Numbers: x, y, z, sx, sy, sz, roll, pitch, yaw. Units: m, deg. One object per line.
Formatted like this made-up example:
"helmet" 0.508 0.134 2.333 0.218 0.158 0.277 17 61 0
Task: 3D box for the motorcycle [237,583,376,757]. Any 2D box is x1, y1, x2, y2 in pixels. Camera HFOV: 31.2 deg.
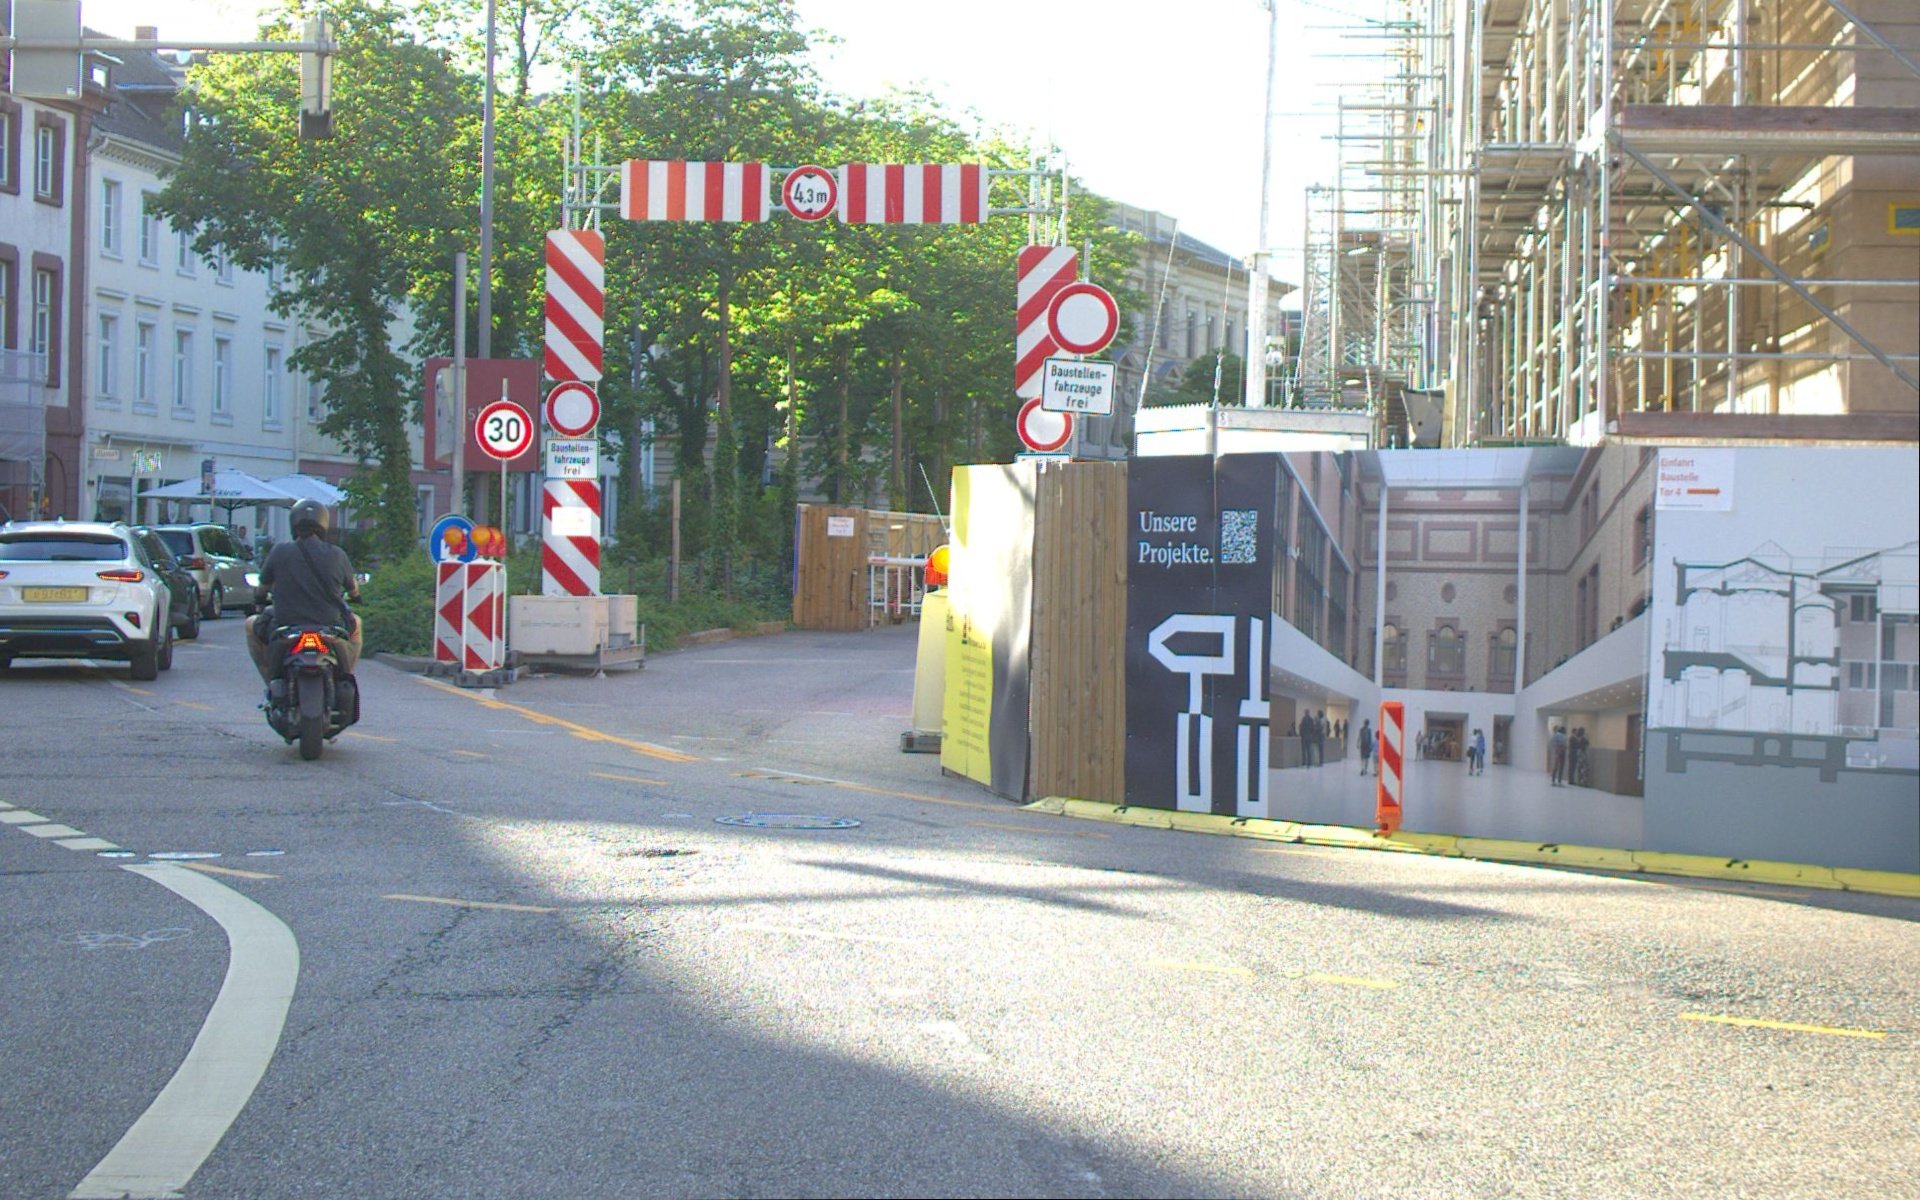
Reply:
"motorcycle" -4.372 0.451 22.926 0.796 1.062 1.726 1 1 -14

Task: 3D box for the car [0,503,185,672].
"car" -8.528 -0.162 32.904 1.850 1.475 4.059 2 1 -9

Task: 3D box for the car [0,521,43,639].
"car" -13.204 -0.315 45.338 1.840 1.458 4.059 2 1 -11

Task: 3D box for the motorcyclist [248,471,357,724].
"motorcyclist" -4.390 -0.023 22.935 0.657 1.645 0.651 2 1 -13

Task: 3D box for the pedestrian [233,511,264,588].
"pedestrian" -16.522 -1.167 79.798 0.438 1.769 0.597 1 1 20

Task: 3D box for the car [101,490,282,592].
"car" -13.683 -1.054 61.398 1.841 1.707 4.056 2 1 7
